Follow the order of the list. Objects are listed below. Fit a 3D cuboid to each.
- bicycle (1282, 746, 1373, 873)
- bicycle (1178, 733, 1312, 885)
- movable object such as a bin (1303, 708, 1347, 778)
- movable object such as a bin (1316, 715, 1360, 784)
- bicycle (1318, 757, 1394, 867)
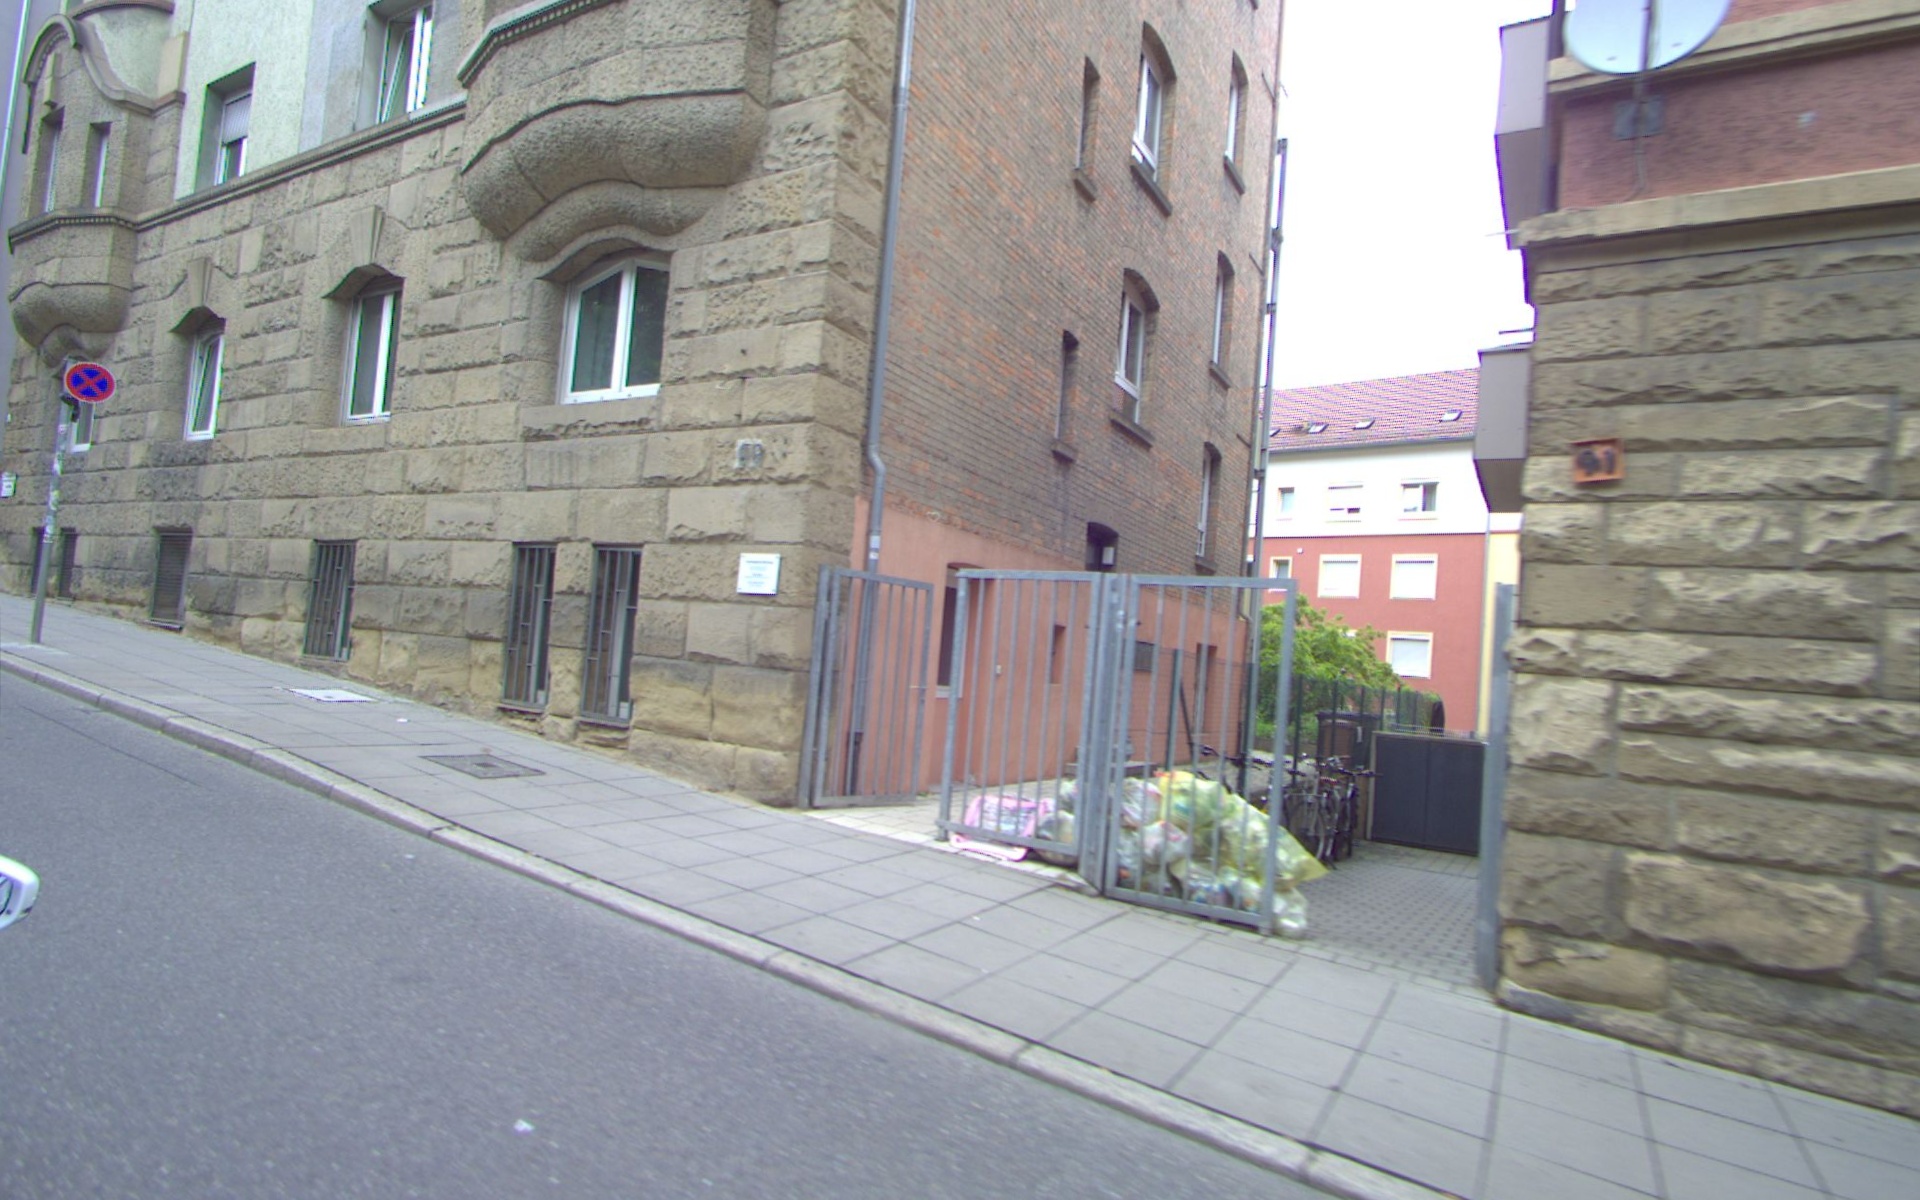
[{"bbox_3d":[4.179,2.362,11.355,0.542,1.220,1.933,6,-8,30],"label":"bicycle"},{"bbox_3d":[2.463,1.770,8.516,0.542,1.052,1.933,6,-8,30],"label":"bicycle"},{"bbox_3d":[5.846,2.282,16.107,0.510,1.043,0.460,5,-2,29],"label":"movable object such as a bin"},{"bbox_3d":[5.834,2.293,15.523,0.510,0.971,0.460,5,-2,29],"label":"movable object such as a bin"},{"bbox_3d":[5.175,2.758,13.081,0.542,1.220,1.933,6,-8,30],"label":"bicycle"}]
